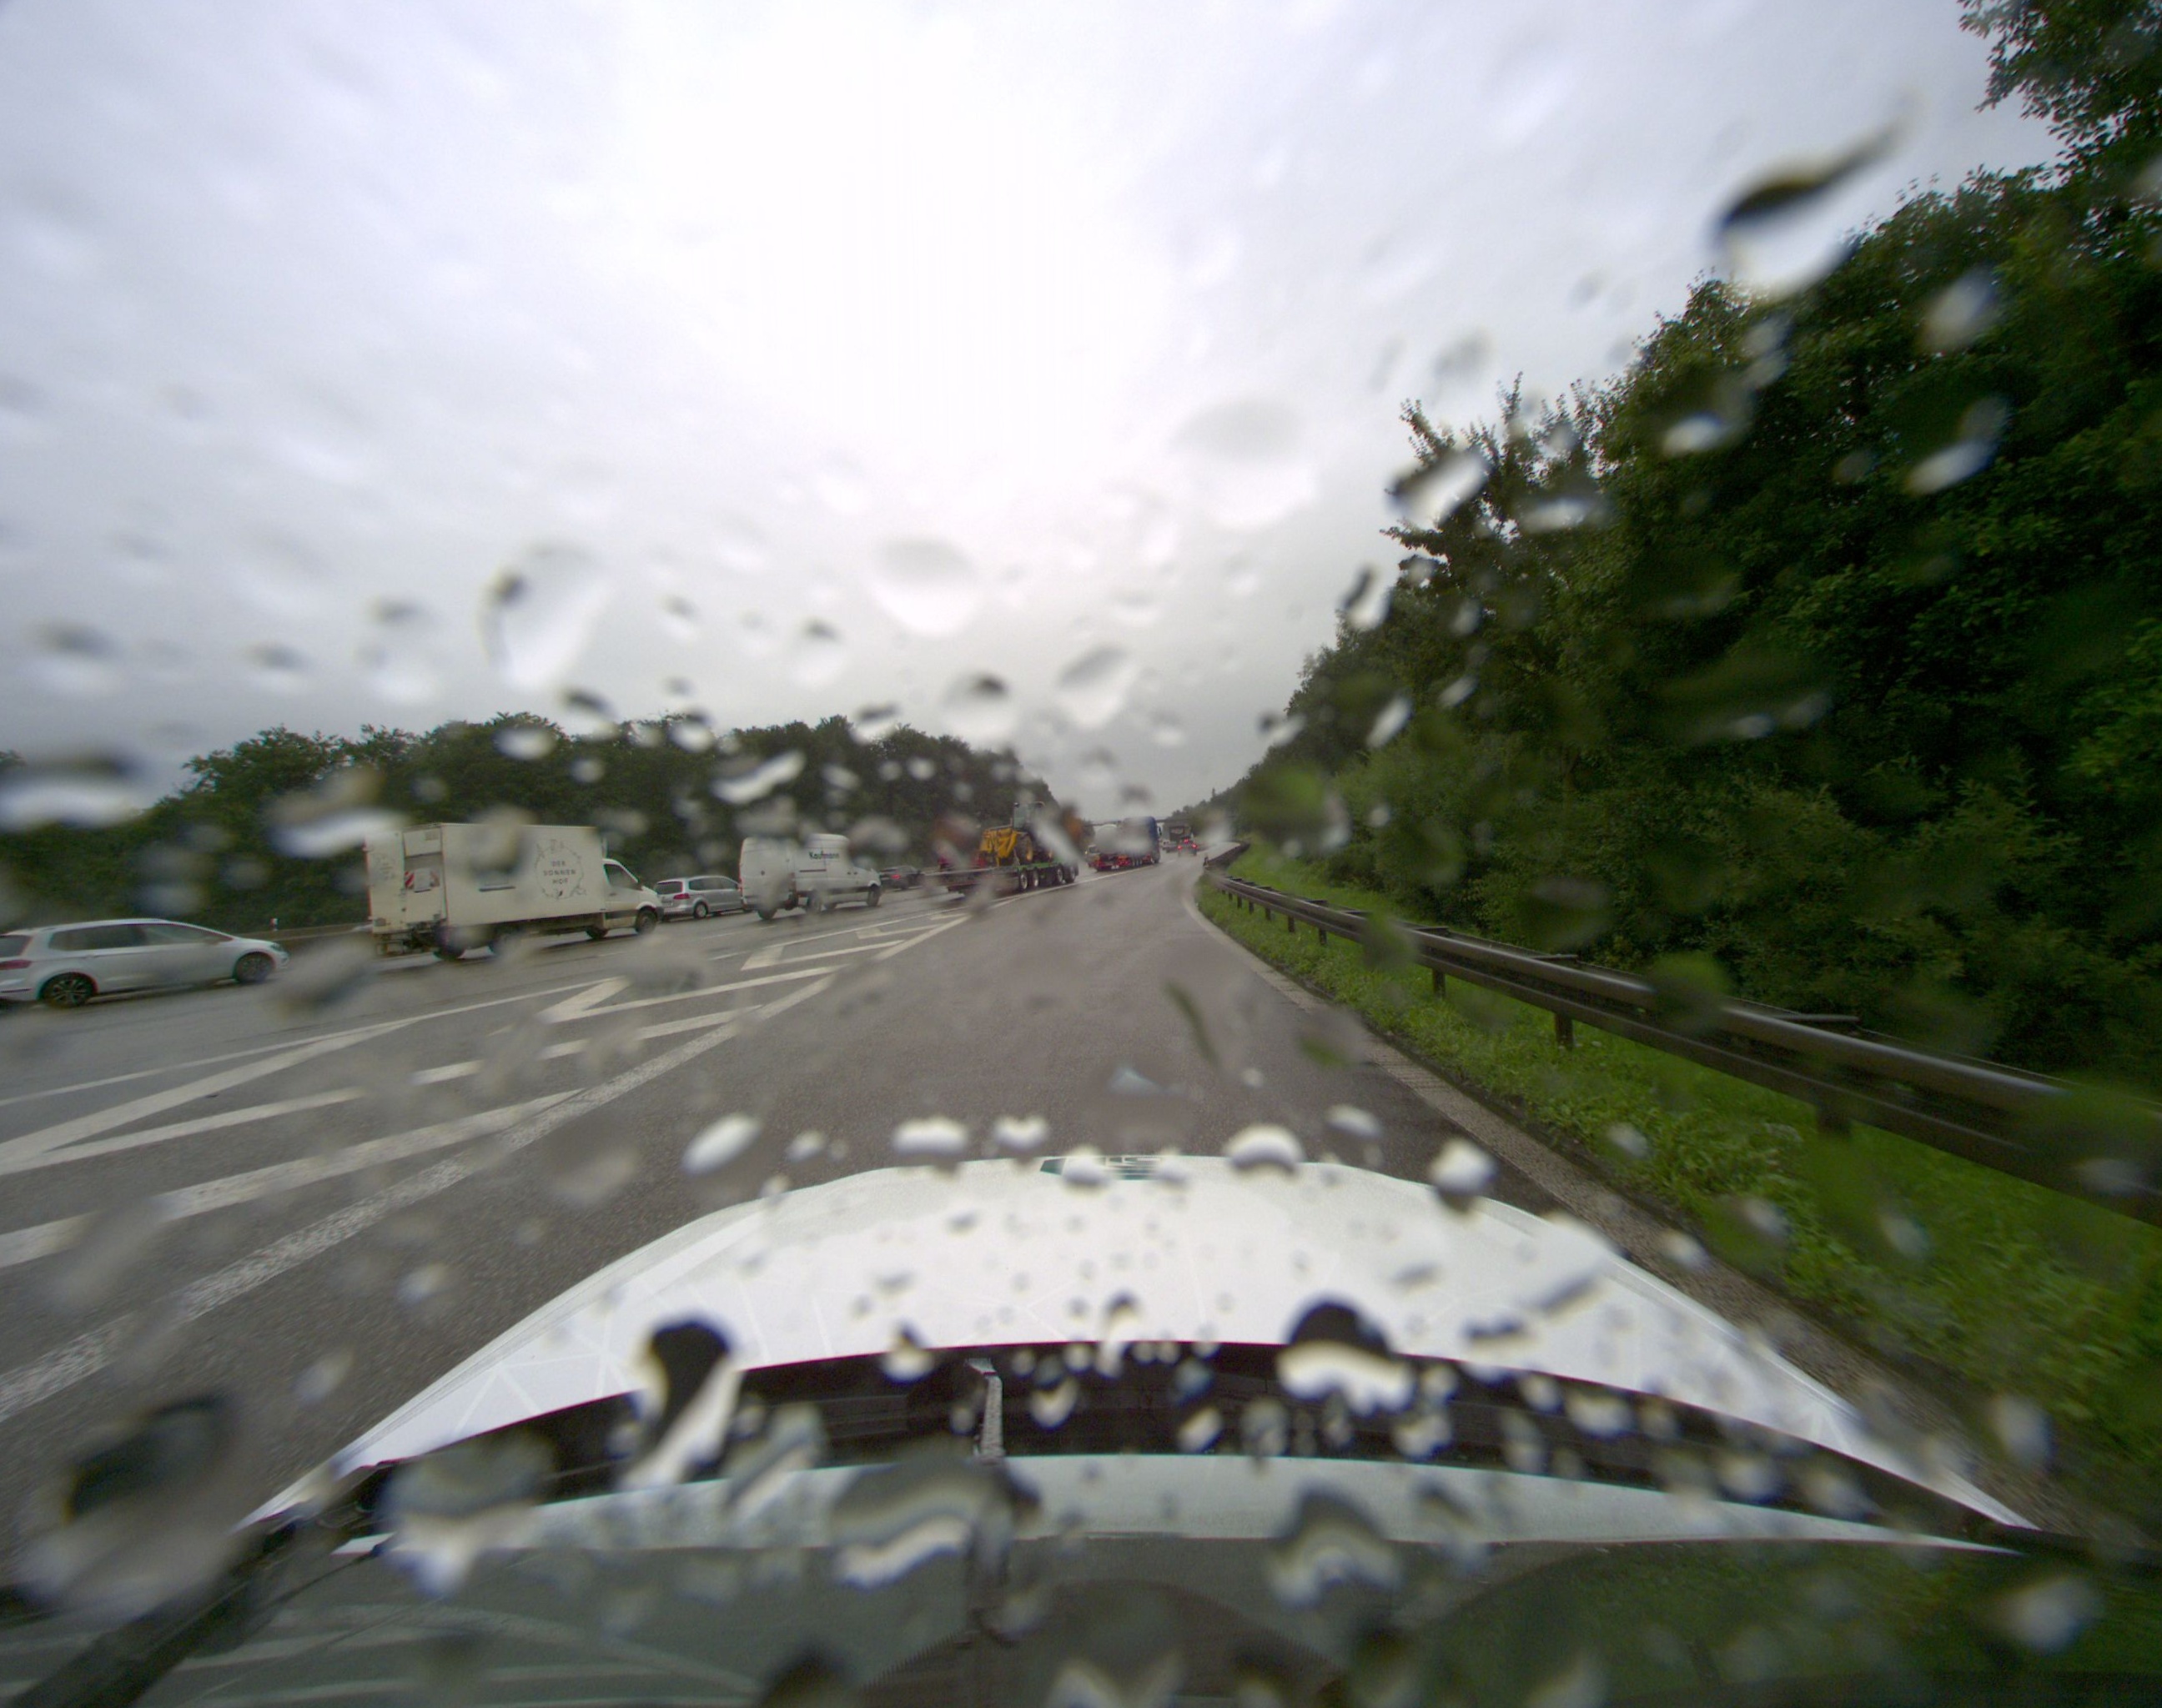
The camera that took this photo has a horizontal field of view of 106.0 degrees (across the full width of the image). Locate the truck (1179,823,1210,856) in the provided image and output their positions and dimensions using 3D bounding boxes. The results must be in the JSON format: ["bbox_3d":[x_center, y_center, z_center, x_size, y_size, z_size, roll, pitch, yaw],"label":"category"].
[{"bbox_3d":[16.023,-2.058,114.310,3.577,4.104,11.595,-4,0,11],"label":"truck"}]

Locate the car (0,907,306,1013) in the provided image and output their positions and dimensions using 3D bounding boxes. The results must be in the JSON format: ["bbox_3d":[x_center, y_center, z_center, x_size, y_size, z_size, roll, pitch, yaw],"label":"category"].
[{"bbox_3d":[-19.101,2.052,16.649,1.603,1.522,4.434,-4,0,16],"label":"car"}]

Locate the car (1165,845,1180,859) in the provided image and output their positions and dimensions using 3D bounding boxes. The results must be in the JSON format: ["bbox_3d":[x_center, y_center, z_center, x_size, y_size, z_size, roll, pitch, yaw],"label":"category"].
[{"bbox_3d":[13.155,-0.251,117.144,1.786,1.904,4.012,-1,-1,11],"label":"car"}]

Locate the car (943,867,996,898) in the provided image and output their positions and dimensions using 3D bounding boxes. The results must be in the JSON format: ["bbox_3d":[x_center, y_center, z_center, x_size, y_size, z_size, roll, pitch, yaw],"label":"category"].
[{"bbox_3d":[-6.691,1.686,49.270,1.773,1.727,4.014,-1,-1,13],"label":"car"}]

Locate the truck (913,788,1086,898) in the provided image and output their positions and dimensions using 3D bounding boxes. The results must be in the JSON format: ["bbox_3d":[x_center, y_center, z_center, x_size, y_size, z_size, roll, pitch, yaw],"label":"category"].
[{"bbox_3d":[-2.817,-0.487,33.862,2.810,3.588,11.847,-5,0,15],"label":"truck"}]

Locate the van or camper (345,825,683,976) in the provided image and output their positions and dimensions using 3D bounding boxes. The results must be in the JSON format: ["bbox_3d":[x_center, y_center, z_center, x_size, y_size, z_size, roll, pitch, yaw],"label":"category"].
[{"bbox_3d":[-14.304,0.998,21.468,2.560,3.204,7.160,-4,0,15],"label":"van or camper"}]

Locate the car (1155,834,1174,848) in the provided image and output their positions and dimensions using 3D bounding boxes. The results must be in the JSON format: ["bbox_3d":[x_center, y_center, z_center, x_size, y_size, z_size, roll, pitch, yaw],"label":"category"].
[{"bbox_3d":[18.055,-2.768,175.855,3.224,3.002,6.796,-1,-1,12],"label":"car"}]

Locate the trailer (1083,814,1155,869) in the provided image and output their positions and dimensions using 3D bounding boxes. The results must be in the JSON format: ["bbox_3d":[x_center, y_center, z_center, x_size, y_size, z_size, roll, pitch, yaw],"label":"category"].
[{"bbox_3d":[2.845,-0.914,56.527,2.853,3.288,10.117,-4,1,14],"label":"trailer"}]

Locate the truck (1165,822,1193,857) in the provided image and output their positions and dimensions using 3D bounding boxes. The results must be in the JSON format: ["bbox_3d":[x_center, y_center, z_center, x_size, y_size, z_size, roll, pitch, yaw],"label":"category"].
[{"bbox_3d":[16.682,-2.349,137.914,3.729,5.499,10.207,-1,-1,13],"label":"truck"}]

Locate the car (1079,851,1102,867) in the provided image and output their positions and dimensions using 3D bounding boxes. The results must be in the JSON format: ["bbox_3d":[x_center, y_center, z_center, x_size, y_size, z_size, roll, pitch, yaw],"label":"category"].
[{"bbox_3d":[1.216,0.650,99.564,1.980,1.772,4.149,-3,0,12],"label":"car"}]

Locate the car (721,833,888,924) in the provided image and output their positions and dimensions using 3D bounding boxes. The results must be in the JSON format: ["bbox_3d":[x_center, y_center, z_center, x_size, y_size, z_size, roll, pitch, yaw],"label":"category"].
[{"bbox_3d":[-9.028,0.712,27.359,2.198,2.629,5.868,-4,0,16],"label":"car"}]

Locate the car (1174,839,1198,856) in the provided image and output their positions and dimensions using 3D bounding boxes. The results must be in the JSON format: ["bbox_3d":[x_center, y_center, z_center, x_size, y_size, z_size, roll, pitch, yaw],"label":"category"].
[{"bbox_3d":[10.545,-0.592,81.513,1.980,1.636,4.013,-1,0,12],"label":"car"}]

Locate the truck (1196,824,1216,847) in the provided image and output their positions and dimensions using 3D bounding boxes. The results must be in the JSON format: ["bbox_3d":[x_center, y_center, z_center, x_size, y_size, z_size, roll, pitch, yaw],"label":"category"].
[{"bbox_3d":[23.838,-3.460,155.114,3.733,3.970,11.087,-1,0,9],"label":"truck"}]

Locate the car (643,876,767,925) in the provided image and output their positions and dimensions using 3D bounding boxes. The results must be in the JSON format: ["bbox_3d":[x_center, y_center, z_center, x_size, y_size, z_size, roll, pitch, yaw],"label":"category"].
[{"bbox_3d":[-14.993,1.813,32.807,1.852,1.522,4.649,-4,0,15],"label":"car"}]

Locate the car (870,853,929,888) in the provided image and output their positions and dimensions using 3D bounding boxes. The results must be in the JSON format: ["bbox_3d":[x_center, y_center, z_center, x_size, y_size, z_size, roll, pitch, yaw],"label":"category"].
[{"bbox_3d":[-10.793,0.946,48.697,1.784,2.014,4.016,-1,-1,15],"label":"car"}]

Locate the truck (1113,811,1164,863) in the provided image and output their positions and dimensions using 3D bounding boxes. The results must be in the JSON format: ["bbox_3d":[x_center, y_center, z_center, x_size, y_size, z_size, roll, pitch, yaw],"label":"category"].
[{"bbox_3d":[4.530,-1.322,63.286,2.856,3.693,5.076,-4,0,14],"label":"truck"}]

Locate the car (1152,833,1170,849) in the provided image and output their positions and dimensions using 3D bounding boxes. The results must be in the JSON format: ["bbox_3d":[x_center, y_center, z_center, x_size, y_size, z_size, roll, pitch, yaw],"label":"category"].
[{"bbox_3d":[15.718,-2.482,159.655,3.076,3.002,6.792,-1,0,10],"label":"car"}]

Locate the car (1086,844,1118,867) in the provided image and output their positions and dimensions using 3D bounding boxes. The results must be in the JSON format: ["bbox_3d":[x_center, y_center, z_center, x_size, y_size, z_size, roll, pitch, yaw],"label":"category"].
[{"bbox_3d":[1.785,0.112,67.785,1.807,1.767,4.015,-3,0,13],"label":"car"}]

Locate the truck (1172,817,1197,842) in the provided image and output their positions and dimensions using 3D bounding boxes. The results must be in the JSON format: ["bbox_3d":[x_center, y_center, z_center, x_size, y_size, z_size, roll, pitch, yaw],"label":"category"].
[{"bbox_3d":[20.199,-4.703,158.270,3.552,4.095,10.916,-4,-1,12],"label":"truck"}]

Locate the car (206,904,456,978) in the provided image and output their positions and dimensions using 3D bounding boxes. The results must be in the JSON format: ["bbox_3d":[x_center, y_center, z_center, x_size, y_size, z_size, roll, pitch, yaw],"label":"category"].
[{"bbox_3d":[-20.565,2.324,22.672,1.731,1.425,4.854,-4,0,16],"label":"car"}]

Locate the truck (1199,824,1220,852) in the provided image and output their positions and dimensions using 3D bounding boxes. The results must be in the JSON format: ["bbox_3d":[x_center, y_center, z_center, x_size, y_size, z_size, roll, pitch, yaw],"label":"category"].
[{"bbox_3d":[27.911,-3.344,176.780,4.309,5.764,9.758,-1,-1,10],"label":"truck"}]

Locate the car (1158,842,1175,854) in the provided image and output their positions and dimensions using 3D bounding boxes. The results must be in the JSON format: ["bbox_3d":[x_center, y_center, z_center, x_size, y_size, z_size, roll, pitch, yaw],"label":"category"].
[{"bbox_3d":[21.047,-1.461,200.078,3.224,3.002,6.796,-1,-1,12],"label":"car"}]

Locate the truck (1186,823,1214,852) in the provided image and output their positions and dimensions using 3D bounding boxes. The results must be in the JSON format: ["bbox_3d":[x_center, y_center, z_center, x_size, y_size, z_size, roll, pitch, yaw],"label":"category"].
[{"bbox_3d":[19.097,-2.500,130.199,3.482,4.268,10.641,-1,0,13],"label":"truck"}]
